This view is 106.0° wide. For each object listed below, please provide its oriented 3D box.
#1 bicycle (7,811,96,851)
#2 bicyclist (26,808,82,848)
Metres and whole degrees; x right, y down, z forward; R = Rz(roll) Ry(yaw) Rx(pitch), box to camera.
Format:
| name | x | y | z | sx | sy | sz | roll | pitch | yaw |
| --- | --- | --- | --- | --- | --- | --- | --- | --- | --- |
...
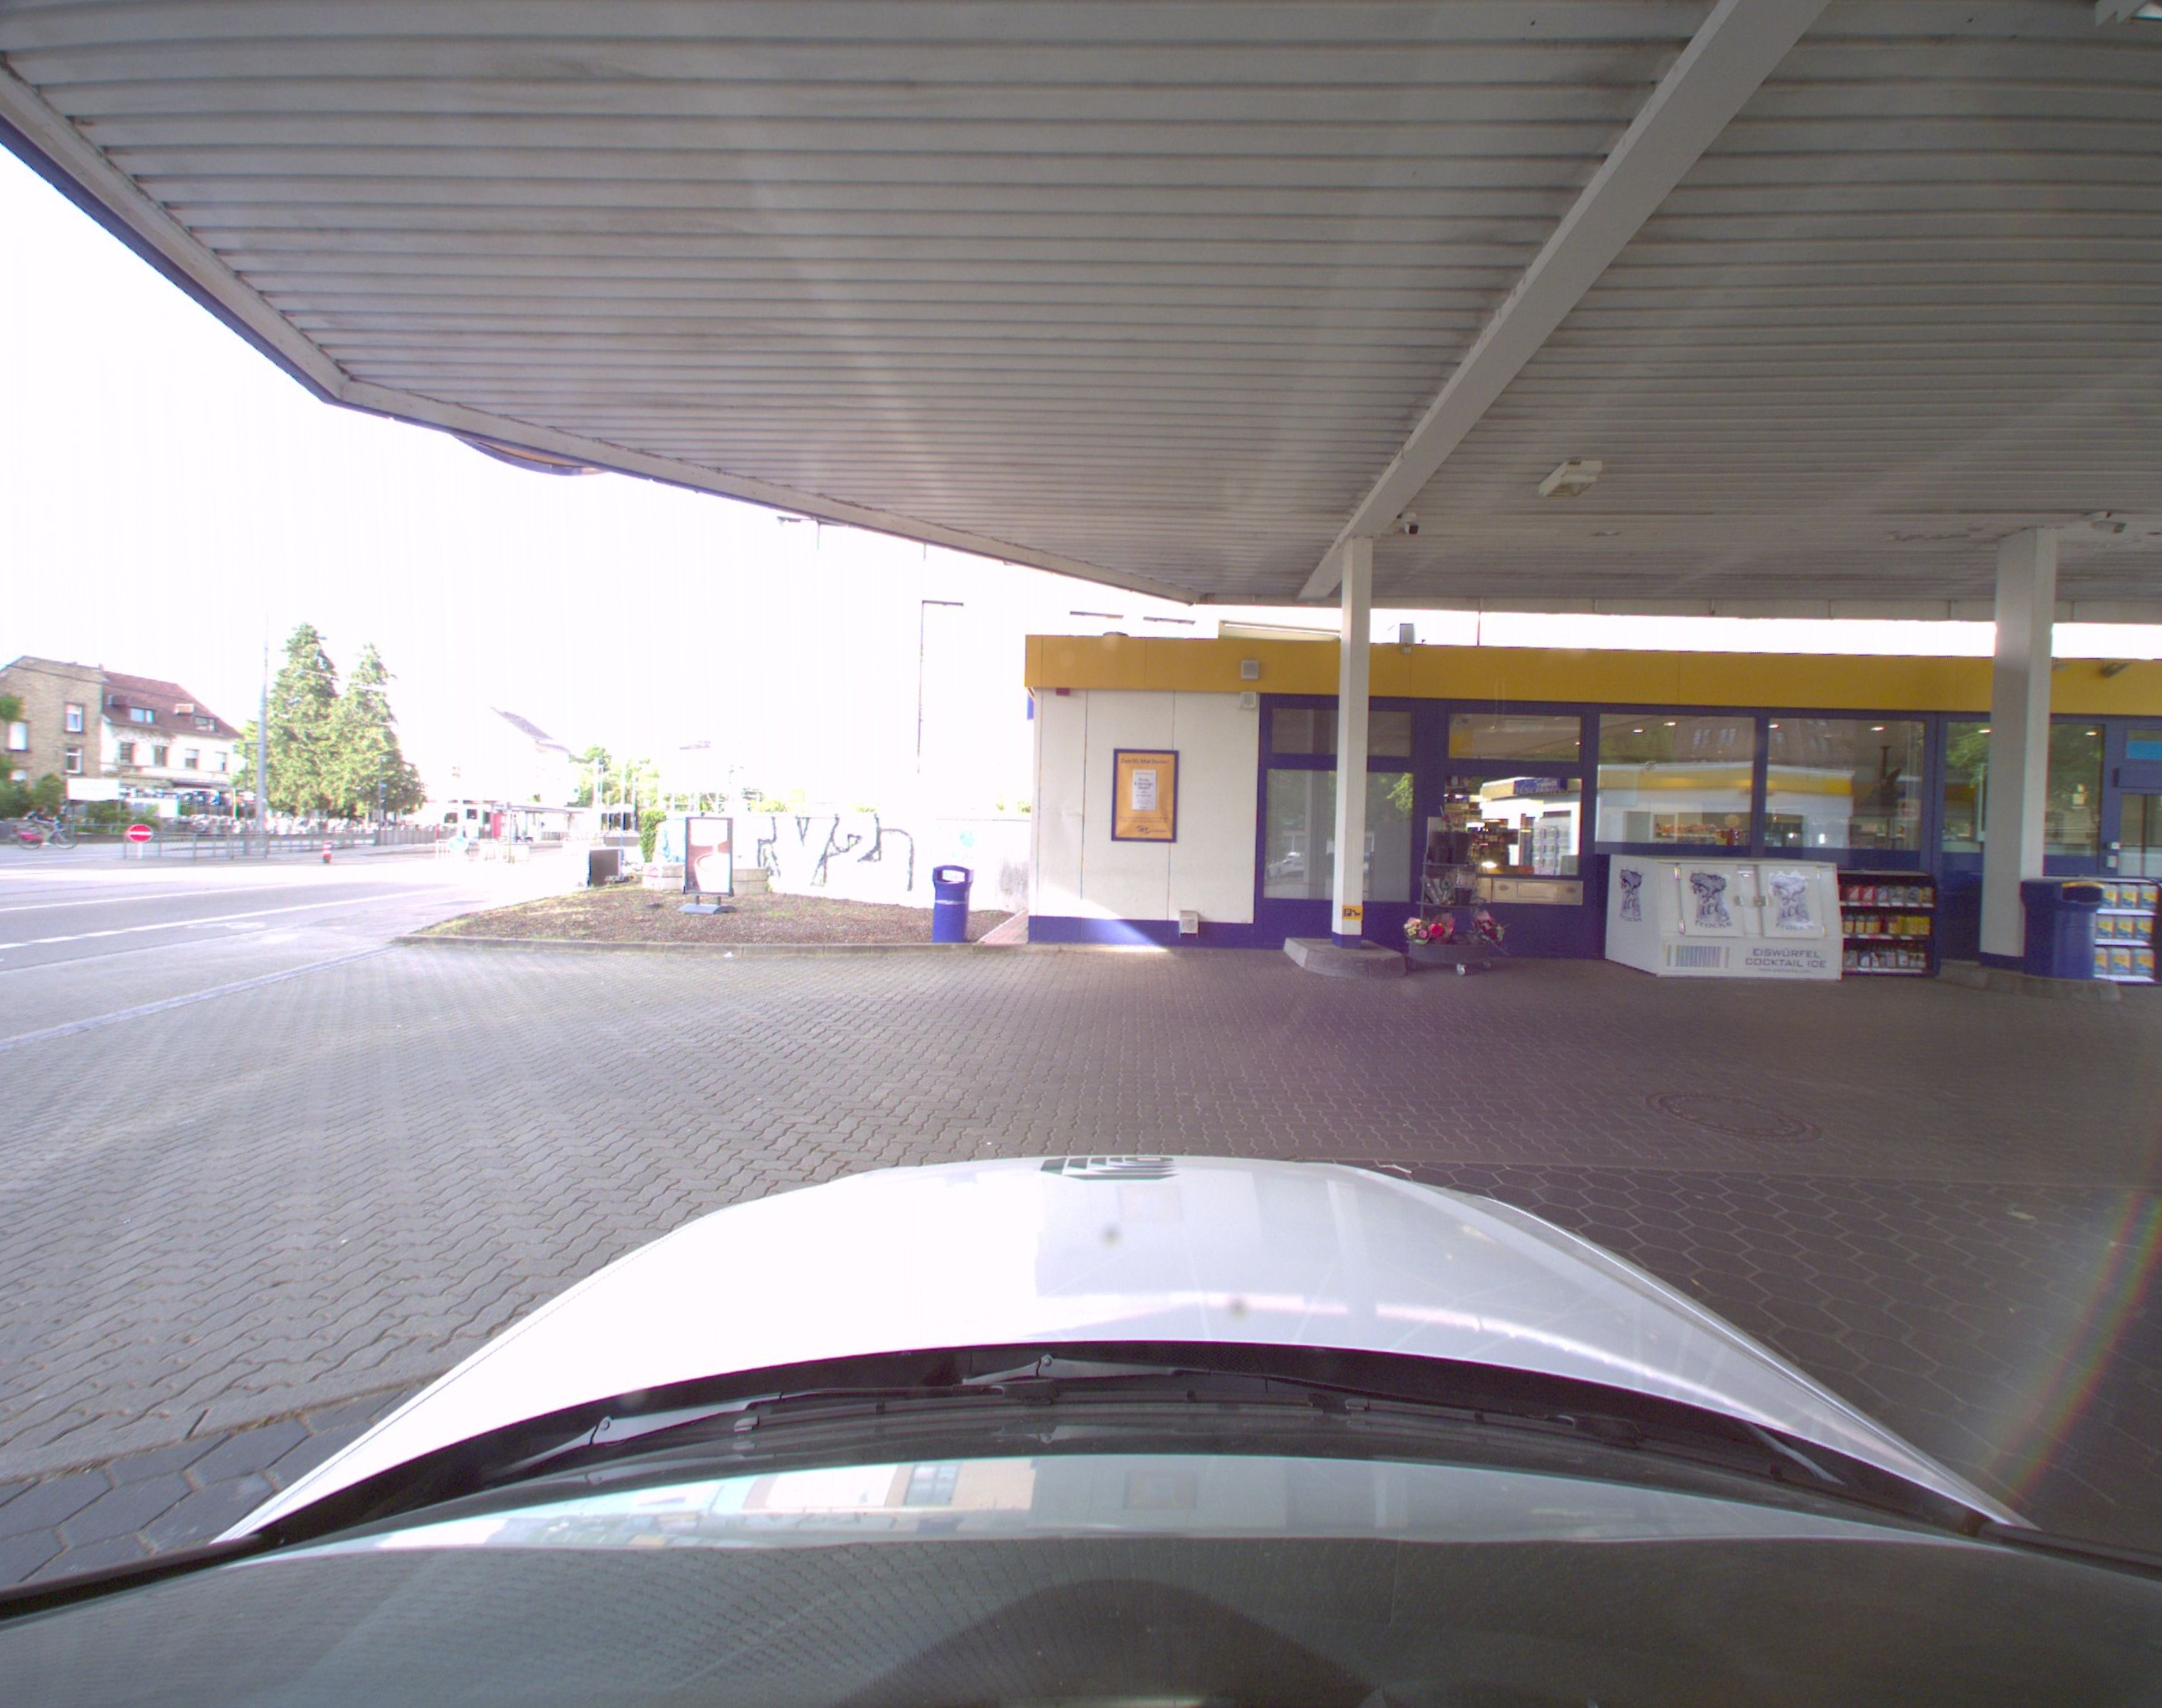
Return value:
| name | x | y | z | sx | sy | sz | roll | pitch | yaw |
| --- | --- | --- | --- | --- | --- | --- | --- | --- | --- |
| bicycle | -41.237 | -0.901 | 32.647 | 0.781 | 1.492 | 1.998 | 4 | 0 | 12 |
| bicyclist | -41.219 | -1.034 | 32.697 | 0.781 | 1.492 | 1.099 | 4 | 0 | 11 |
